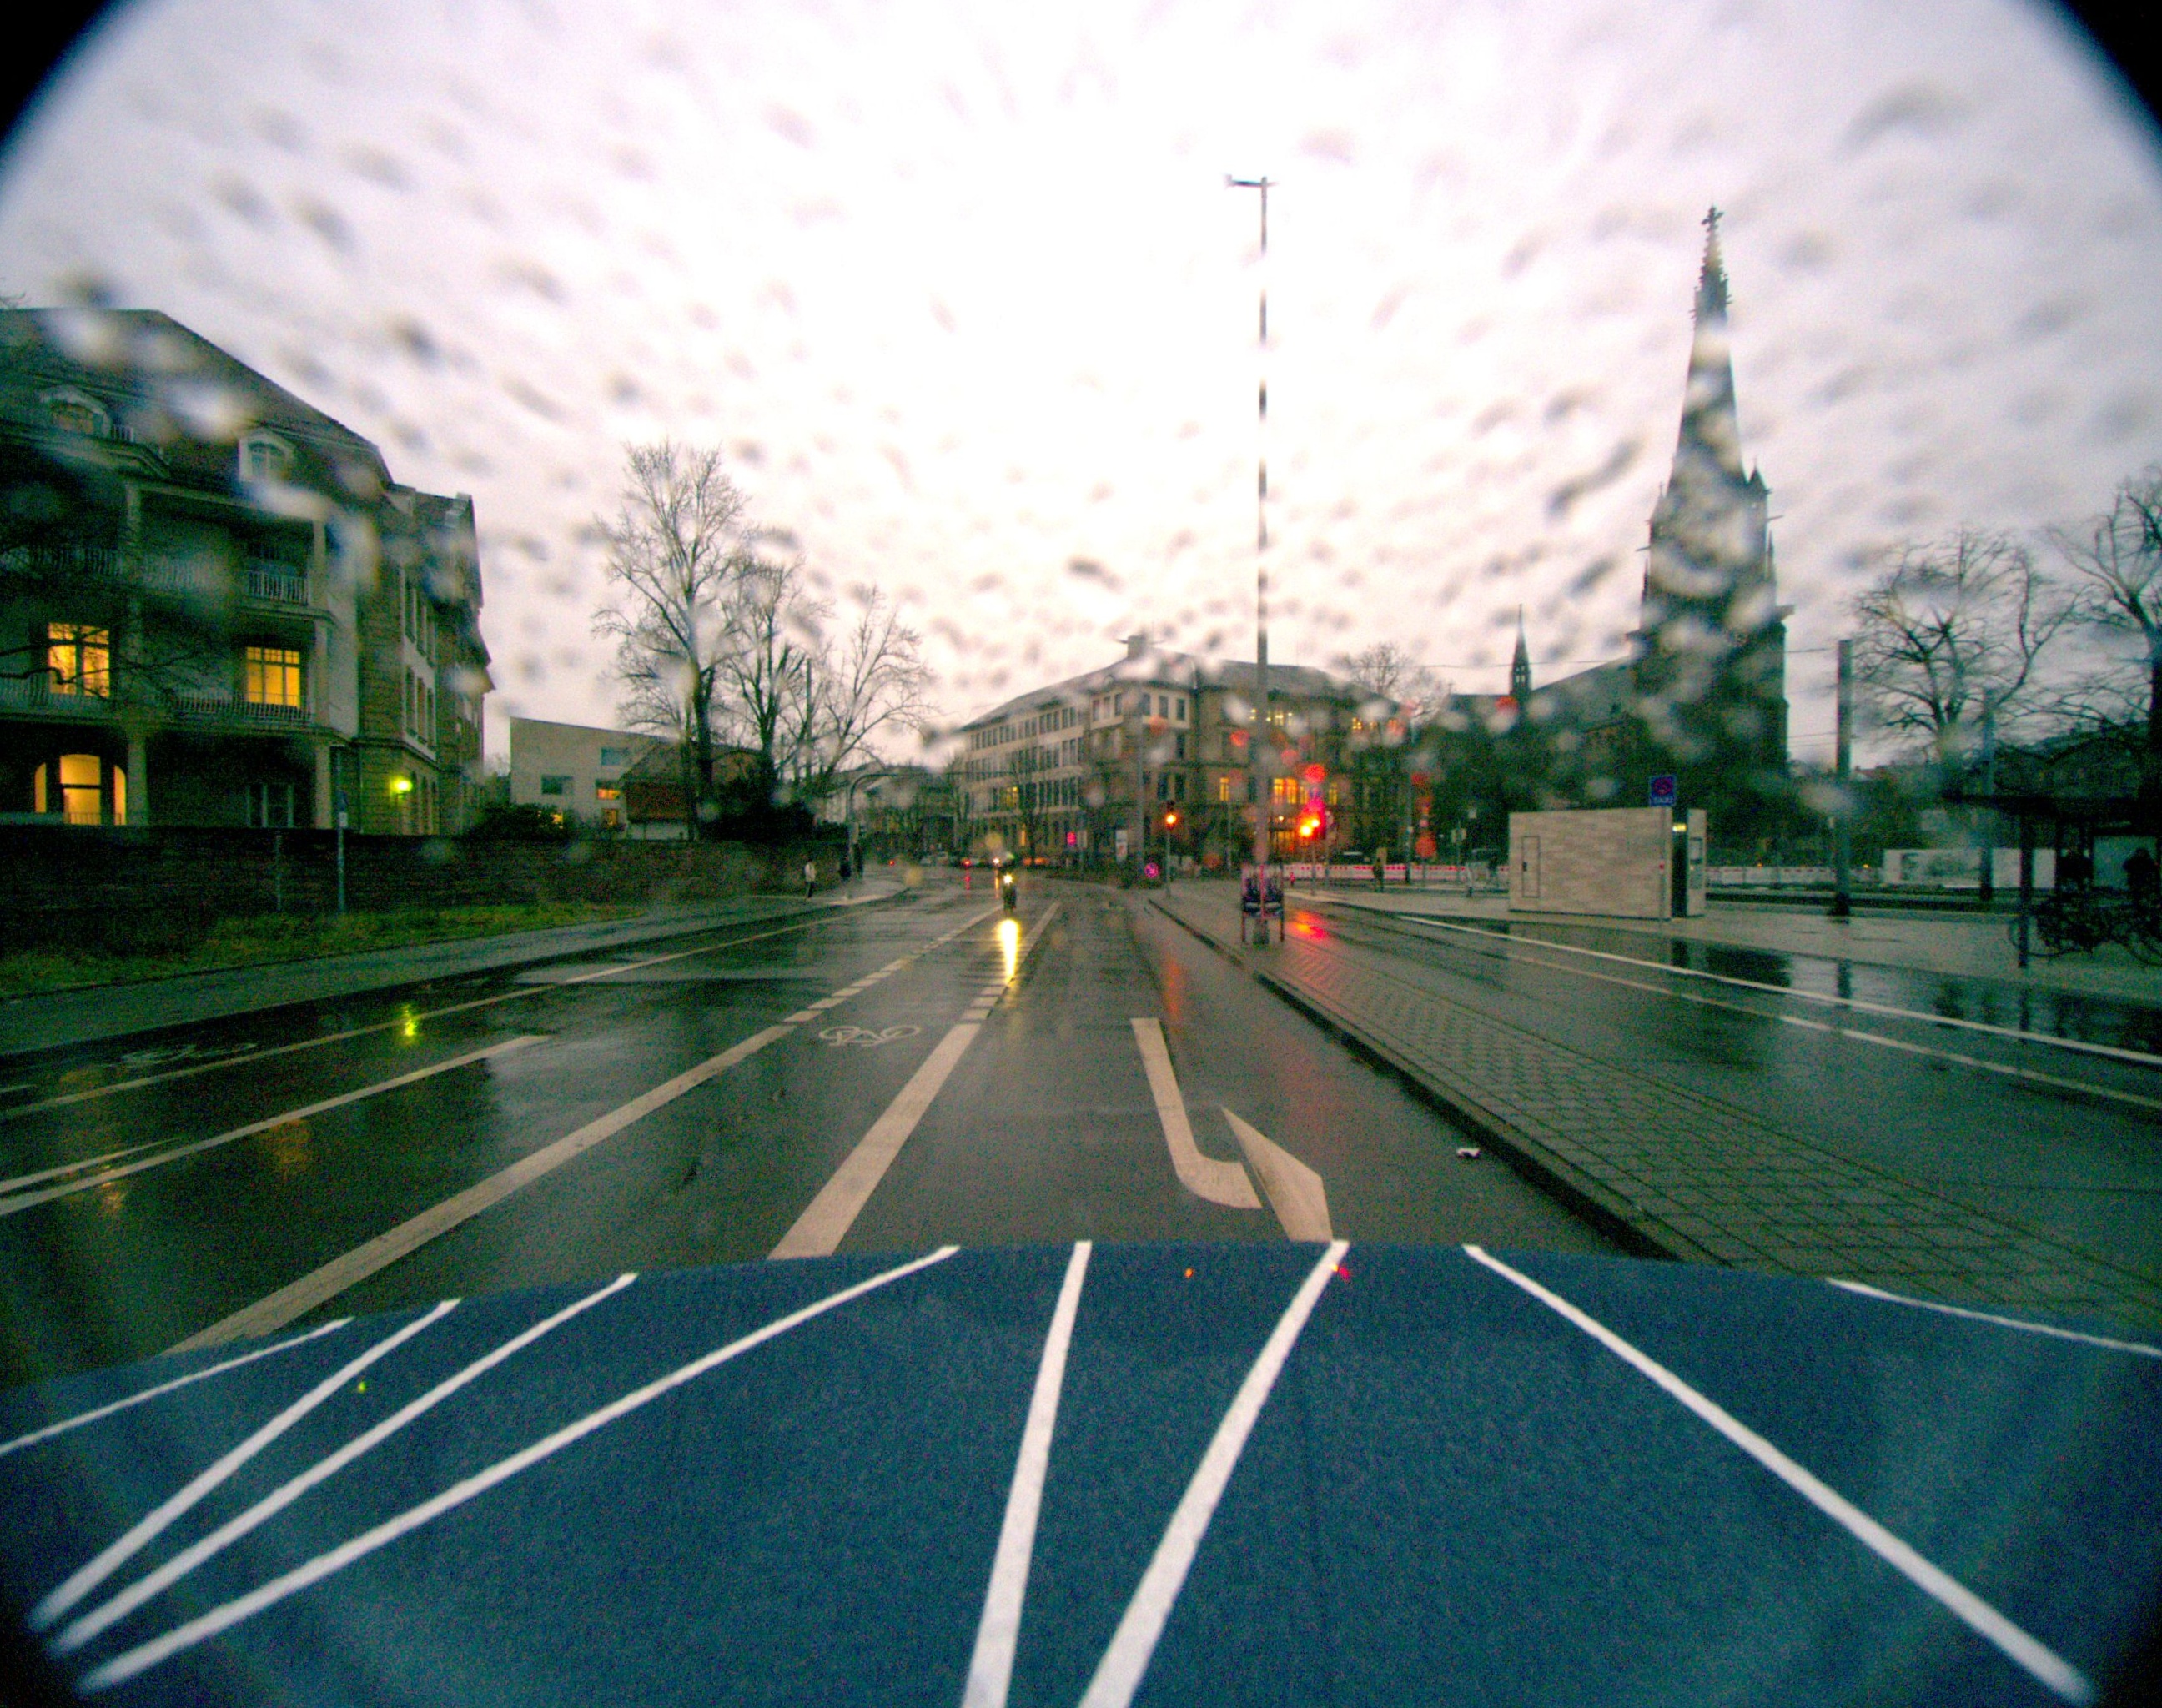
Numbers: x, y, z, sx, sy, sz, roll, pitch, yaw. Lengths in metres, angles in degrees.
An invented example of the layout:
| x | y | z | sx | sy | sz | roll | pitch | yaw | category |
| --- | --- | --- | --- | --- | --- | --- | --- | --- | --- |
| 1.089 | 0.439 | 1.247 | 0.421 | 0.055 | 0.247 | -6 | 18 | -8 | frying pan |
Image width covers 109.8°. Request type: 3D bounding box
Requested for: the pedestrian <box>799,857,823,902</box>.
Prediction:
| x | y | z | sx | sy | sz | roll | pitch | yaw | category |
| --- | --- | --- | --- | --- | --- | --- | --- | --- | --- |
| -10.572 | 0.991 | 29.753 | 0.799 | 1.713 | 0.673 | 1 | 1 | -11 | pedestrian |

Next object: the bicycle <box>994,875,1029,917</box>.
| x | y | z | sx | sy | sz | roll | pitch | yaw | category |
| --- | --- | --- | --- | --- | --- | --- | --- | --- | --- |
| -2.006 | 1.211 | 22.166 | 0.785 | 1.069 | 1.957 | -2 | 1 | 1 | bicycle |

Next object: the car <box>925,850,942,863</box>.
| x | y | z | sx | sy | sz | roll | pitch | yaw | category |
| --- | --- | --- | --- | --- | --- | --- | --- | --- | --- |
| -20.726 | 0.374 | 106.842 | 2.000 | 1.660 | 3.997 | -2 | 1 | -7 | car |

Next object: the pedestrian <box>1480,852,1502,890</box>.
| x | y | z | sx | sy | sz | roll | pitch | yaw | category |
| --- | --- | --- | --- | --- | --- | --- | --- | --- | --- |
| 19.540 | 0.802 | 36.236 | 0.825 | 1.785 | 0.671 | -2 | 1 | 26 | pedestrian |

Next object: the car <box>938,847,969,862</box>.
| x | y | z | sx | sy | sz | roll | pitch | yaw | category |
| --- | --- | --- | --- | --- | --- | --- | --- | --- | --- |
| -16.986 | 0.078 | 101.467 | 2.043 | 1.889 | 4.007 | -2 | 1 | 28 | car |

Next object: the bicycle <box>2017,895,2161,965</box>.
| x | y | z | sx | sy | sz | roll | pitch | yaw | category |
| --- | --- | --- | --- | --- | --- | --- | --- | --- | --- |
| 16.619 | 1.214 | 12.209 | 0.475 | 0.980 | 1.921 | -2 | 2 | -30 | bicycle |

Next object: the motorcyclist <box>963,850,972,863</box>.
| x | y | z | sx | sy | sz | roll | pitch | yaw | category |
| --- | --- | --- | --- | --- | --- | --- | --- | --- | --- |
| -12.303 | 0.248 | 82.390 | 0.702 | 1.375 | 0.864 | 0 | 0 | -34 | motorcyclist |

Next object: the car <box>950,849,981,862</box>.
| x | y | z | sx | sy | sz | roll | pitch | yaw | category |
| --- | --- | --- | --- | --- | --- | --- | --- | --- | --- |
| -15.082 | 0.202 | 99.401 | 1.797 | 1.541 | 4.007 | -2 | 1 | 28 | car |

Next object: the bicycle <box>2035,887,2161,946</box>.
| x | y | z | sx | sy | sz | roll | pitch | yaw | category |
| --- | --- | --- | --- | --- | --- | --- | --- | --- | --- |
| 19.694 | 1.169 | 14.420 | 0.475 | 0.980 | 1.921 | -2 | 2 | -30 | bicycle |

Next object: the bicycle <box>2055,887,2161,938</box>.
| x | y | z | sx | sy | sz | roll | pitch | yaw | category |
| --- | --- | --- | --- | --- | --- | --- | --- | --- | --- |
| 20.850 | 1.161 | 15.009 | 0.475 | 0.905 | 1.921 | -2 | 2 | -30 | bicycle |

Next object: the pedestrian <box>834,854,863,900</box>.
| x | y | z | sx | sy | sz | roll | pitch | yaw | category |
| --- | --- | --- | --- | --- | --- | --- | --- | --- | --- |
| -9.529 | 0.935 | 31.155 | 1.000 | 1.890 | 0.673 | 1 | 1 | -8 | pedestrian |

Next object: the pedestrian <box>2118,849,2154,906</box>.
| x | y | z | sx | sy | sz | roll | pitch | yaw | category |
| --- | --- | --- | --- | --- | --- | --- | --- | --- | --- |
| 31.051 | 0.692 | 22.378 | 0.541 | 1.642 | 0.562 | -3 | 2 | -41 | pedestrian |

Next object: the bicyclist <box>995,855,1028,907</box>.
| x | y | z | sx | sy | sz | roll | pitch | yaw | category |
| --- | --- | --- | --- | --- | --- | --- | --- | --- | --- |
| -2.016 | 0.764 | 22.188 | 0.785 | 1.444 | 1.134 | -2 | 1 | 1 | bicyclist |

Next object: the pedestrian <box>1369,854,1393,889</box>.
| x | y | z | sx | sy | sz | roll | pitch | yaw | category |
| --- | --- | --- | --- | --- | --- | --- | --- | --- | --- |
| 14.704 | 0.873 | 37.241 | 0.771 | 1.651 | 1.210 | -1 | 1 | 36 | pedestrian |

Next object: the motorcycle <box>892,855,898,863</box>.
| x | y | z | sx | sy | sz | roll | pitch | yaw | category |
| --- | --- | --- | --- | --- | --- | --- | --- | --- | --- |
| -26.434 | 0.705 | 107.932 | 0.726 | 1.048 | 2.164 | 0 | 0 | -16 | motorcycle |

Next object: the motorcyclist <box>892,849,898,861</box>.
| x | y | z | sx | sy | sz | roll | pitch | yaw | category |
| --- | --- | --- | --- | --- | --- | --- | --- | --- | --- |
| -26.426 | 0.108 | 107.896 | 0.711 | 1.707 | 0.740 | 0 | 0 | -15 | motorcyclist |

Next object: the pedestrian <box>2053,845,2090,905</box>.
| x | y | z | sx | sy | sz | roll | pitch | yaw | category |
| --- | --- | --- | --- | --- | --- | --- | --- | --- | --- |
| 30.238 | 0.643 | 23.207 | 0.673 | 1.785 | 0.626 | -3 | 2 | -41 | pedestrian |

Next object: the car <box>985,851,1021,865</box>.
| x | y | z | sx | sy | sz | roll | pitch | yaw | category |
| --- | --- | --- | --- | --- | --- | --- | --- | --- | --- |
| -9.271 | 0.483 | 90.531 | 1.797 | 1.541 | 4.007 | -1 | 1 | 45 | car |

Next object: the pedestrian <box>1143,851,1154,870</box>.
| x | y | z | sx | sy | sz | roll | pitch | yaw | category |
| --- | --- | --- | --- | --- | --- | --- | --- | --- | --- |
| 6.422 | 0.622 | 72.385 | 0.675 | 1.806 | 0.896 | 0 | 1 | -28 | pedestrian |

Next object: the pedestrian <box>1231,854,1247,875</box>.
| x | y | z | sx | sy | sz | roll | pitch | yaw | category |
| --- | --- | --- | --- | --- | --- | --- | --- | --- | --- |
| 13.378 | 0.884 | 64.340 | 0.829 | 1.714 | 0.926 | 0 | 0 | -29 | pedestrian |

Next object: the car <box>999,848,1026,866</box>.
| x | y | z | sx | sy | sz | roll | pitch | yaw | category |
| --- | --- | --- | --- | --- | --- | --- | --- | --- | --- |
| -7.538 | 0.353 | 83.728 | 1.881 | 1.835 | 4.003 | -2 | 1 | 11 | car |

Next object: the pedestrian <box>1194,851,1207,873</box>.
| x | y | z | sx | sy | sz | roll | pitch | yaw | category |
| --- | --- | --- | --- | --- | --- | --- | --- | --- | --- |
| 10.376 | 0.688 | 65.969 | 0.675 | 1.890 | 0.971 | 0 | 1 | -29 | pedestrian |

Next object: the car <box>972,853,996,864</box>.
| x | y | z | sx | sy | sz | roll | pitch | yaw | category |
| --- | --- | --- | --- | --- | --- | --- | --- | --- | --- |
| -12.125 | 0.577 | 95.303 | 1.706 | 1.298 | 3.647 | -2 | 1 | 16 | car |

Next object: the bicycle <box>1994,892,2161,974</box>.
| x | y | z | sx | sy | sz | roll | pitch | yaw | category |
| --- | --- | --- | --- | --- | --- | --- | --- | --- | --- |
| 15.500 | 1.181 | 11.604 | 0.475 | 1.064 | 1.921 | -2 | 2 | -30 | bicycle |

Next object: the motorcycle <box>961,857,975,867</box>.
| x | y | z | sx | sy | sz | roll | pitch | yaw | category |
| --- | --- | --- | --- | --- | --- | --- | --- | --- | --- |
| -12.242 | 0.857 | 82.286 | 0.714 | 1.048 | 2.162 | 0 | 0 | -34 | motorcycle |

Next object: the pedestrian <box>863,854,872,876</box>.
| x | y | z | sx | sy | sz | roll | pitch | yaw | category |
| --- | --- | --- | --- | --- | --- | --- | --- | --- | --- |
| -15.699 | 0.818 | 55.931 | 0.616 | 1.644 | 0.570 | 0 | 0 | -19 | pedestrian |
